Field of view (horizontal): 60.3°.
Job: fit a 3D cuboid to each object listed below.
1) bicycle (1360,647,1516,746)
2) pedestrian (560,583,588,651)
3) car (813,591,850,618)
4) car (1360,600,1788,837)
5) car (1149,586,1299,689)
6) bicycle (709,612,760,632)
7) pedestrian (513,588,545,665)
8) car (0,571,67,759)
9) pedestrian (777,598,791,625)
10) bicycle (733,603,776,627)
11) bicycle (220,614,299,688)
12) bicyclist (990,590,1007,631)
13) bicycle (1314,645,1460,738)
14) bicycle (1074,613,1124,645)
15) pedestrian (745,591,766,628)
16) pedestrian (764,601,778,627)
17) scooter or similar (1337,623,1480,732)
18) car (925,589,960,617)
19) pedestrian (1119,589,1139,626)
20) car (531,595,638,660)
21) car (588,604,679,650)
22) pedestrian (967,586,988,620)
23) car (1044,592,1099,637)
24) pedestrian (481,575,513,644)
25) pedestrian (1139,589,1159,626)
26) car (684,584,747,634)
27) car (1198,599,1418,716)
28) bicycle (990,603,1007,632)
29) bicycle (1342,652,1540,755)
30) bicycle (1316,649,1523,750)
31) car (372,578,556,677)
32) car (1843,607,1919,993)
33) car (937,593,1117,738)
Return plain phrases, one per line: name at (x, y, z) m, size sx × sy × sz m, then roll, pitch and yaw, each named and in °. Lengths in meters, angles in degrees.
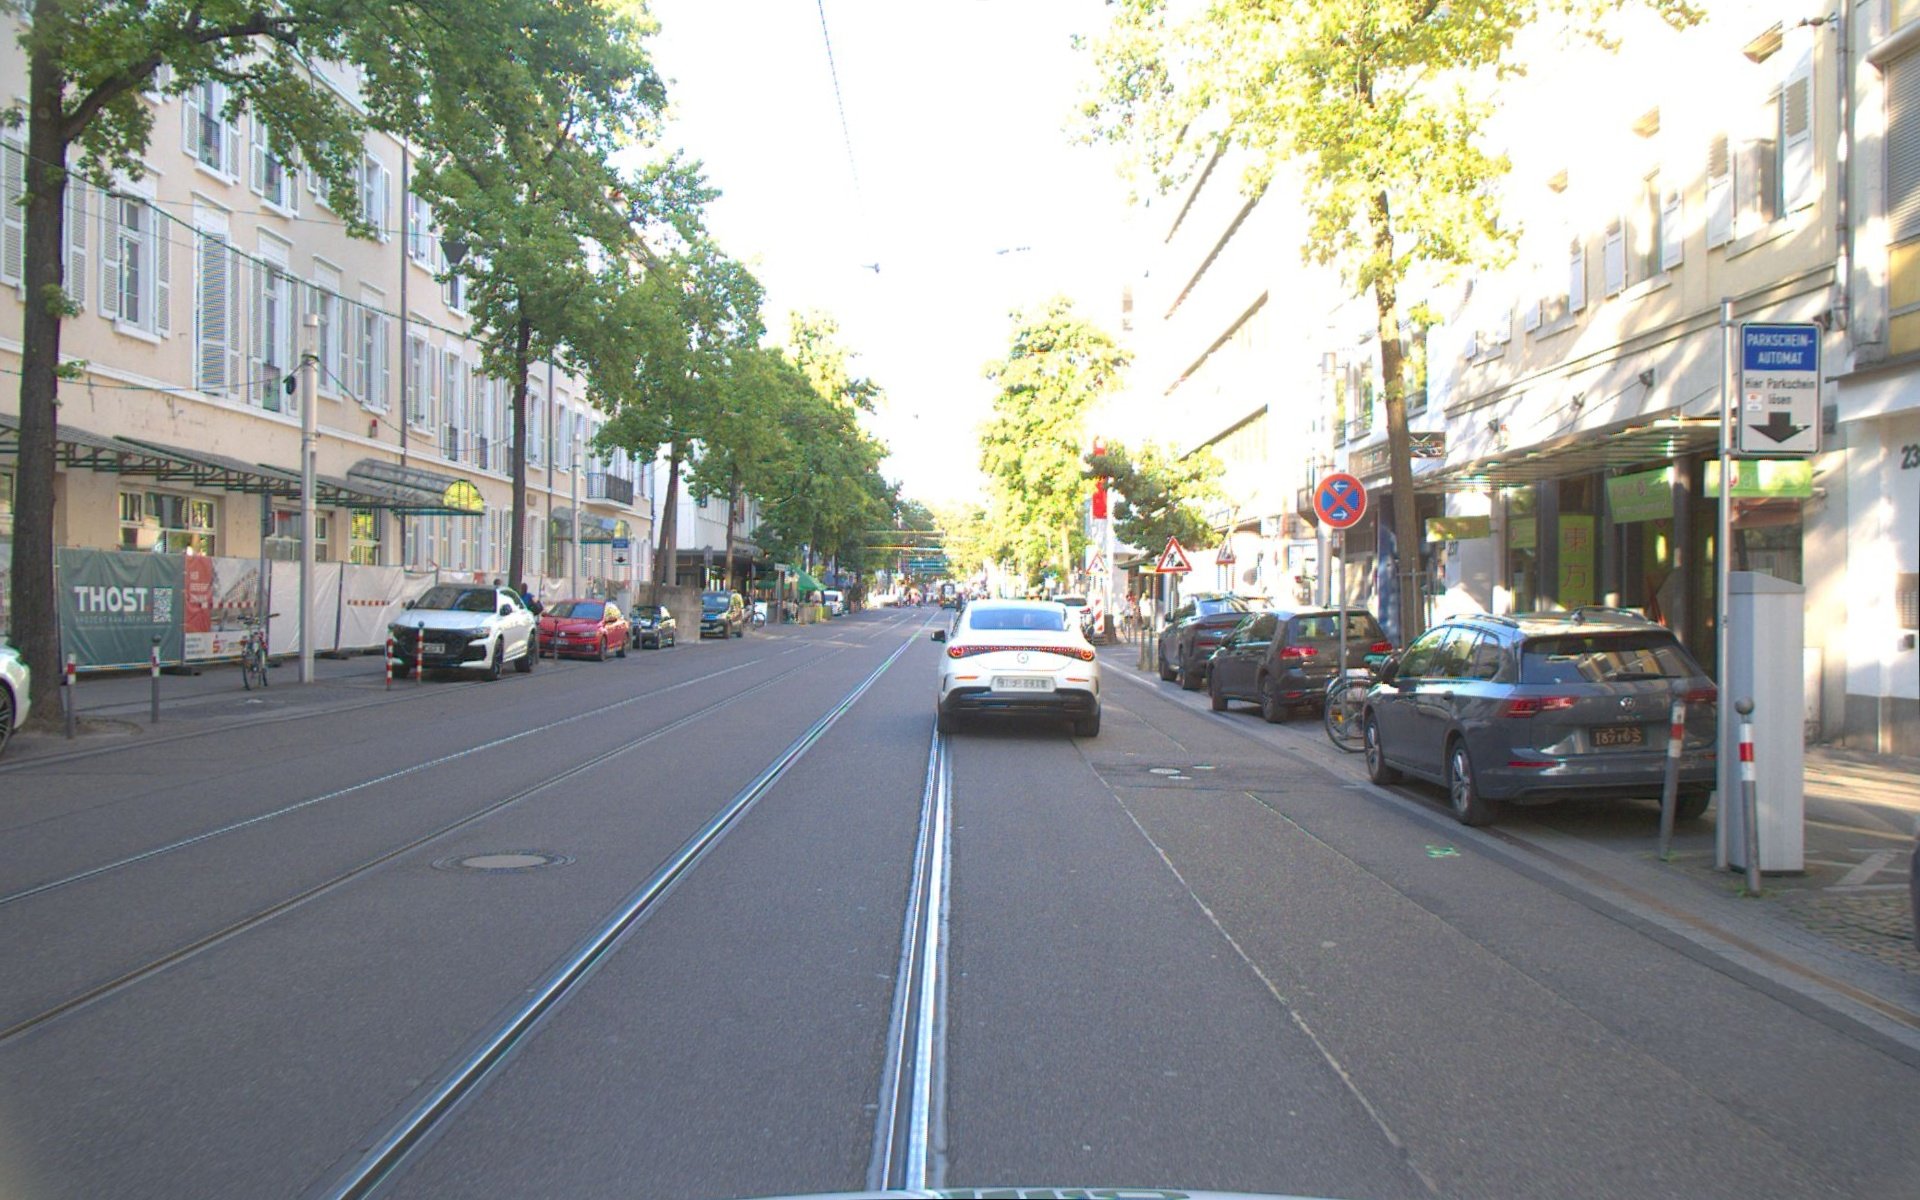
bicycle at (4.969, 0.999, 17.256) m, size 1.505 × 0.981 × 0.496 m, roll 0°, pitch 0°, yaw 7°
pedestrian at (-11.636, 0.509, 49.914) m, size 0.693 × 2.039 × 0.675 m, roll 0°, pitch 0°, yaw -4°
car at (-9.767, 0.330, 125.905) m, size 1.951 × 2.049 × 4.003 m, roll 0°, pitch 0°, yaw 8°
car at (4.453, 0.765, 12.724) m, size 1.832 × 1.478 × 4.107 m, roll -2°, pitch 0°, yaw 2°
car at (4.785, 0.634, 30.685) m, size 1.953 × 1.743 × 4.865 m, roll 0°, pitch 0°, yaw -1°
bicycle at (-9.998, 0.964, 73.296) m, size 2.207 × 0.845 × 0.716 m, roll 0°, pitch 0°, yaw 22°
pedestrian at (-11.534, 0.708, 44.313) m, size 0.693 × 2.039 × 0.675 m, roll 0°, pitch 0°, yaw -4°
car at (-9.520, 0.548, 13.294) m, size 1.906 × 1.668 × 4.909 m, roll 1°, pitch 0°, yaw 1°
pedestrian at (-10.054, 0.655, 94.499) m, size 0.511 × 1.504 × 0.644 m, roll -2°, pitch -1°, yaw -28°
bicycle at (-10.157, 0.749, 81.585) m, size 2.014 × 1.155 × 0.870 m, roll 0°, pitch 0°, yaw -16°
bicycle at (-10.775, 0.763, 25.496) m, size 0.582 × 1.069 × 2.005 m, roll 0°, pitch 0°, yaw -7°
bicyclist at (1.624, 0.452, 69.957) m, size 0.710 × 1.732 × 0.811 m, roll 0°, pitch -1°, yaw 0°
bicycle at (4.731, 1.008, 18.364) m, size 1.506 × 0.981 × 0.496 m, roll 0°, pitch 0°, yaw 4°
bicycle at (4.725, 0.992, 56.288) m, size 1.686 × 1.080 × 0.581 m, roll 0°, pitch 0°, yaw 3°
pedestrian at (-10.094, 0.445, 81.607) m, size 0.904 × 1.805 × 0.870 m, roll 1°, pitch 0°, yaw -15°
pedestrian at (-10.620, 0.776, 92.955) m, size 0.557 × 1.489 × 0.650 m, roll 0°, pitch 0°, yaw 19°
scooter or similar at (5.209, 0.888, 19.281) m, size 1.506 × 1.217 × 0.675 m, roll 0°, pitch 0°, yaw 4°
car at (-2.041, 0.422, 192.358) m, size 3.956 × 3.169 × 8.429 m, roll 0°, pitch -1°, yaw -1°
pedestrian at (8.175, 0.363, 80.186) m, size 0.785 × 1.805 × 0.680 m, roll 1°, pitch 0°, yaw -12°
car at (-9.398, 0.673, 41.728) m, size 1.654 × 1.525 × 4.234 m, roll 1°, pitch 0°, yaw 1°
car at (-9.800, 0.782, 49.961) m, size 1.953 × 1.315 × 3.999 m, roll 1°, pitch 0°, yaw -1°
pedestrian at (0.923, 0.151, 86.994) m, size 0.904 × 1.805 × 0.870 m, roll 1°, pitch 0°, yaw -15°
car at (4.497, 0.579, 67.322) m, size 1.953 × 1.758 × 4.240 m, roll 0°, pitch 0°, yaw 0°
pedestrian at (-12.387, 0.258, 44.228) m, size 0.693 × 1.838 × 0.675 m, roll 0°, pitch 0°, yaw -6°
pedestrian at (9.110, 0.362, 79.753) m, size 0.785 × 1.805 × 0.680 m, roll 1°, pitch 0°, yaw -12°
car at (-9.301, 0.339, 63.128) m, size 1.519 × 1.827 × 3.170 m, roll 0°, pitch 0°, yaw 8°
car at (4.667, 0.723, 22.782) m, size 1.802 × 1.461 × 3.994 m, roll 0°, pitch 0°, yaw -7°
bicycle at (1.619, 0.756, 69.876) m, size 0.725 × 1.209 × 2.160 m, roll 0°, pitch -1°, yaw 1°
bicycle at (4.760, 1.017, 16.415) m, size 1.856 × 0.981 × 0.332 m, roll 0°, pitch 0°, yaw 5°
bicycle at (4.643, 1.006, 16.766) m, size 1.994 × 0.981 × 0.282 m, roll 0°, pitch 0°, yaw 5°
car at (-9.335, 0.497, 31.613) m, size 1.921 × 1.721 × 5.013 m, roll 1°, pitch 0°, yaw 1°
car at (4.804, 0.745, 5.031) m, size 1.779 × 1.512 × 3.995 m, roll -3°, pitch 0°, yaw -5°
car at (0.666, 0.678, 19.136) m, size 1.830 × 1.494 × 4.041 m, roll 0°, pitch 0°, yaw -1°
